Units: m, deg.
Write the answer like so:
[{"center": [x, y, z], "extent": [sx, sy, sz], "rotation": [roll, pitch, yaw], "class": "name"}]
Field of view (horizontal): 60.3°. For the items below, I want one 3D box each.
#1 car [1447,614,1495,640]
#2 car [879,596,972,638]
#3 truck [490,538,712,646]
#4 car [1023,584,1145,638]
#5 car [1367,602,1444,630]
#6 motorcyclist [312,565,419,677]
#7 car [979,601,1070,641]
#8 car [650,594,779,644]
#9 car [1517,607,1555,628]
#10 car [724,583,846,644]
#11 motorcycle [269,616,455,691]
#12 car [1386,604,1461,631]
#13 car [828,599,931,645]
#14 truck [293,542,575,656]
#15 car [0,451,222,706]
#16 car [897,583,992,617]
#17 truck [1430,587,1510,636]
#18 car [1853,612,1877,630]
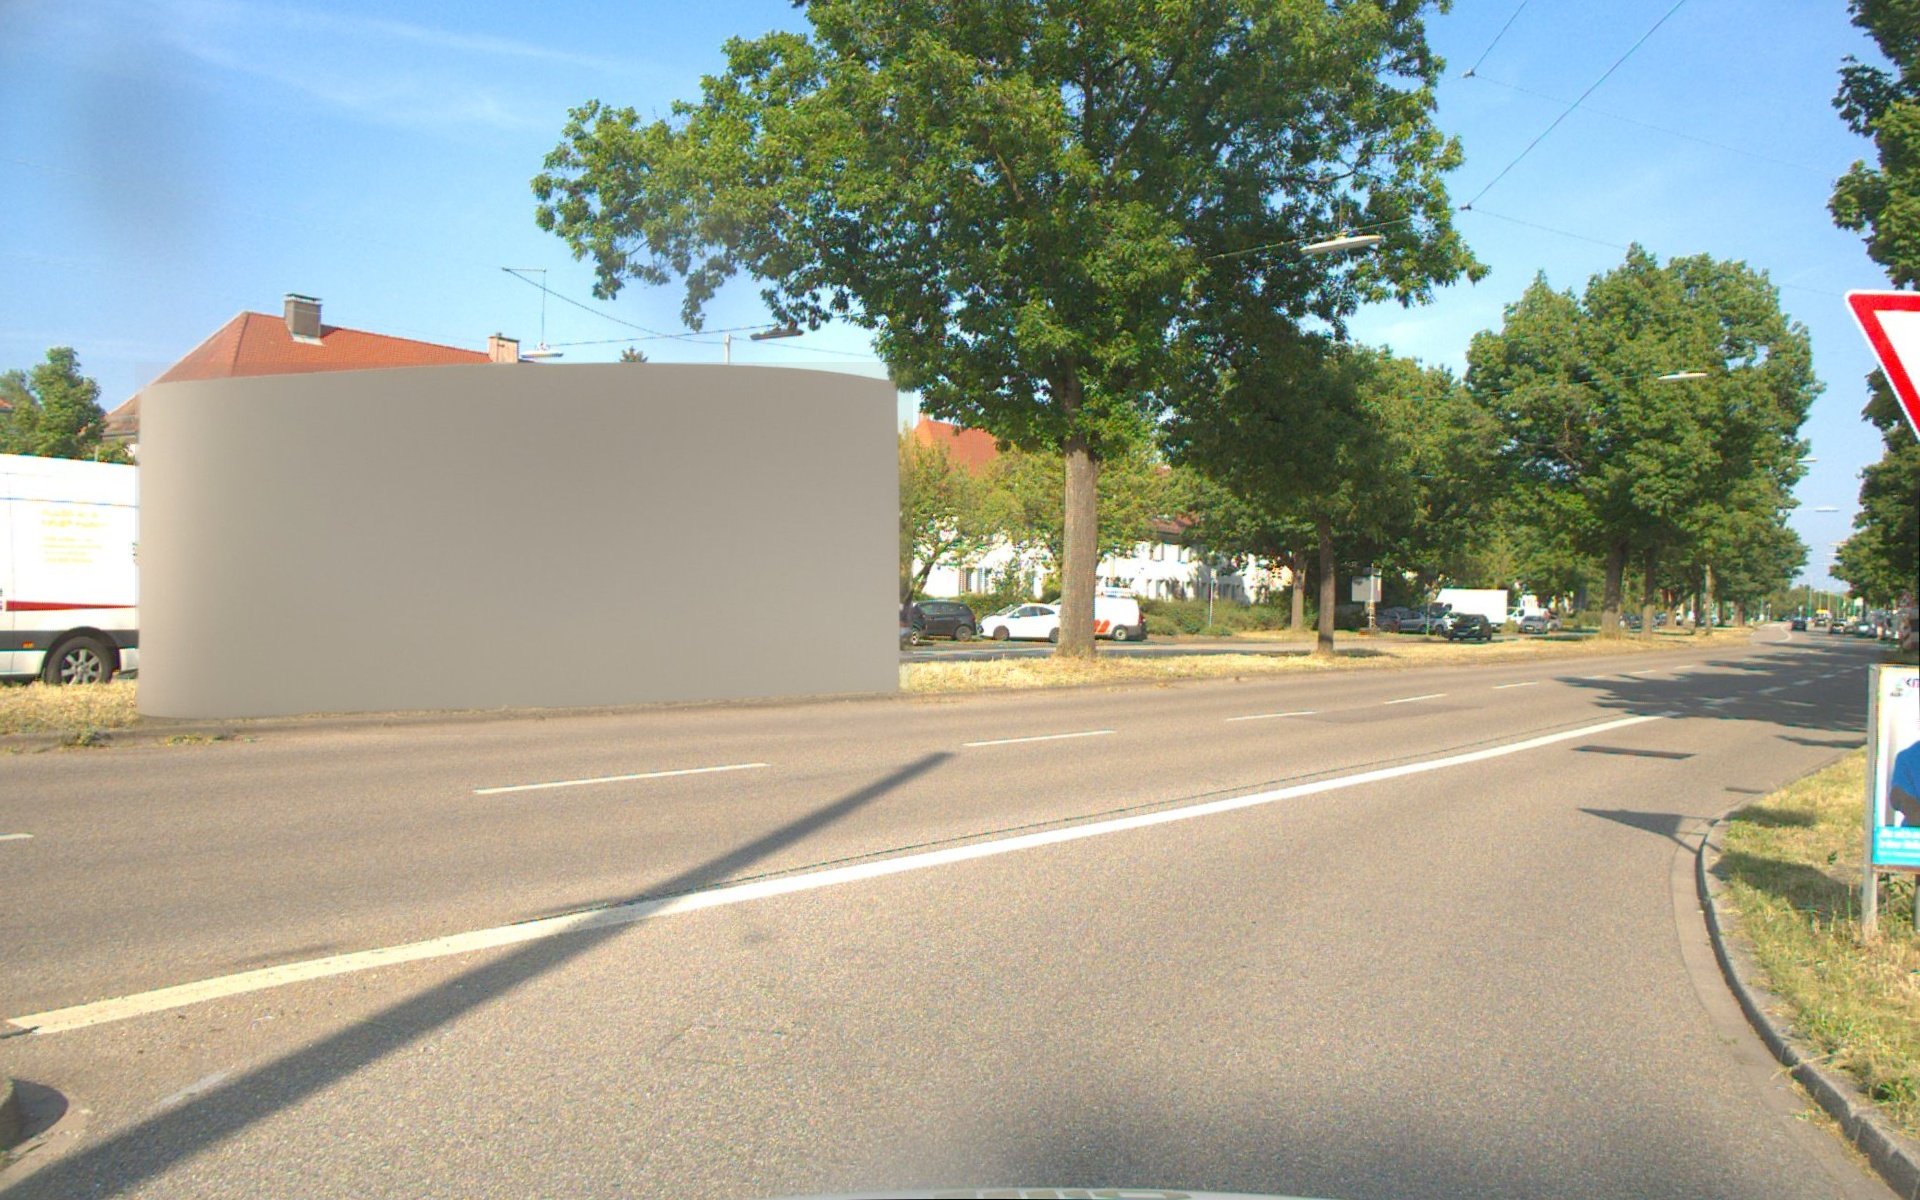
[{"center": [28.406, 1.478, 91.966], "extent": [1.678, 1.377, 3.991], "rotation": [1, 0, 30], "class": "car"}, {"center": [-1.347, 0.633, 63.248], "extent": [3.357, 1.540, 1.893], "rotation": [1, 0, -8], "class": "car"}, {"center": [-10.071, -0.205, 46.689], "extent": [5.953, 2.904, 1.890], "rotation": [1, 0, -13], "class": "truck"}, {"center": [5.344, 0.478, 71.407], "extent": [4.875, 2.271, 1.994], "rotation": [1, 0, -12], "class": "car"}, {"center": [29.223, 1.020, 108.503], "extent": [4.443, 1.753, 1.996], "rotation": [1, 0, -10], "class": "car"}, {"center": [-7.519, 0.262, 20.935], "extent": [0.665, 1.375, 1.066], "rotation": [1, -1, 33], "class": "motorcyclist"}, {"center": [2.559, 0.837, 66.095], "extent": [3.357, 1.540, 1.893], "rotation": [1, 0, -8], "class": "car"}, {"center": [-7.763, 0.590, 52.111], "extent": [3.832, 1.481, 1.888], "rotation": [1, 0, -15], "class": "car"}, {"center": [45.263, 1.388, 129.853], "extent": [1.877, 1.476, 4.267], "rotation": [0, -2, 33], "class": "car"}, {"center": [-5.813, 0.437, 54.824], "extent": [3.828, 1.953, 1.890], "rotation": [1, 0, -12], "class": "car"}, {"center": [-7.527, 0.661, 20.938], "extent": [0.676, 0.882, 2.272], "rotation": [1, 0, 33], "class": "motorcycle"}, {"center": [31.268, 1.177, 111.568], "extent": [4.443, 1.753, 1.996], "rotation": [1, 0, -10], "class": "car"}, {"center": [-2.824, 0.744, 57.708], "extent": [3.423, 1.540, 1.893], "rotation": [1, 0, -8], "class": "car"}, {"center": [-13.011, -0.024, 41.225], "extent": [6.208, 2.568, 2.277], "rotation": [2, 0, -1], "class": "truck"}, {"center": [-11.077, -0.248, 17.056], "extent": [1.959, 2.629, 6.208], "rotation": [1, 0, 34], "class": "car"}, {"center": [-0.861, -0.009, 89.321], "extent": [4.876, 1.749, 1.994], "rotation": [1, 0, 34], "class": "car"}, {"center": [37.380, 0.844, 121.324], "extent": [5.398, 3.525, 1.991], "rotation": [1, 0, -17], "class": "truck"}, {"center": [103.505, 2.389, 189.203], "extent": [1.953, 2.049, 3.998], "rotation": [1, 0, 23], "class": "car"}]
